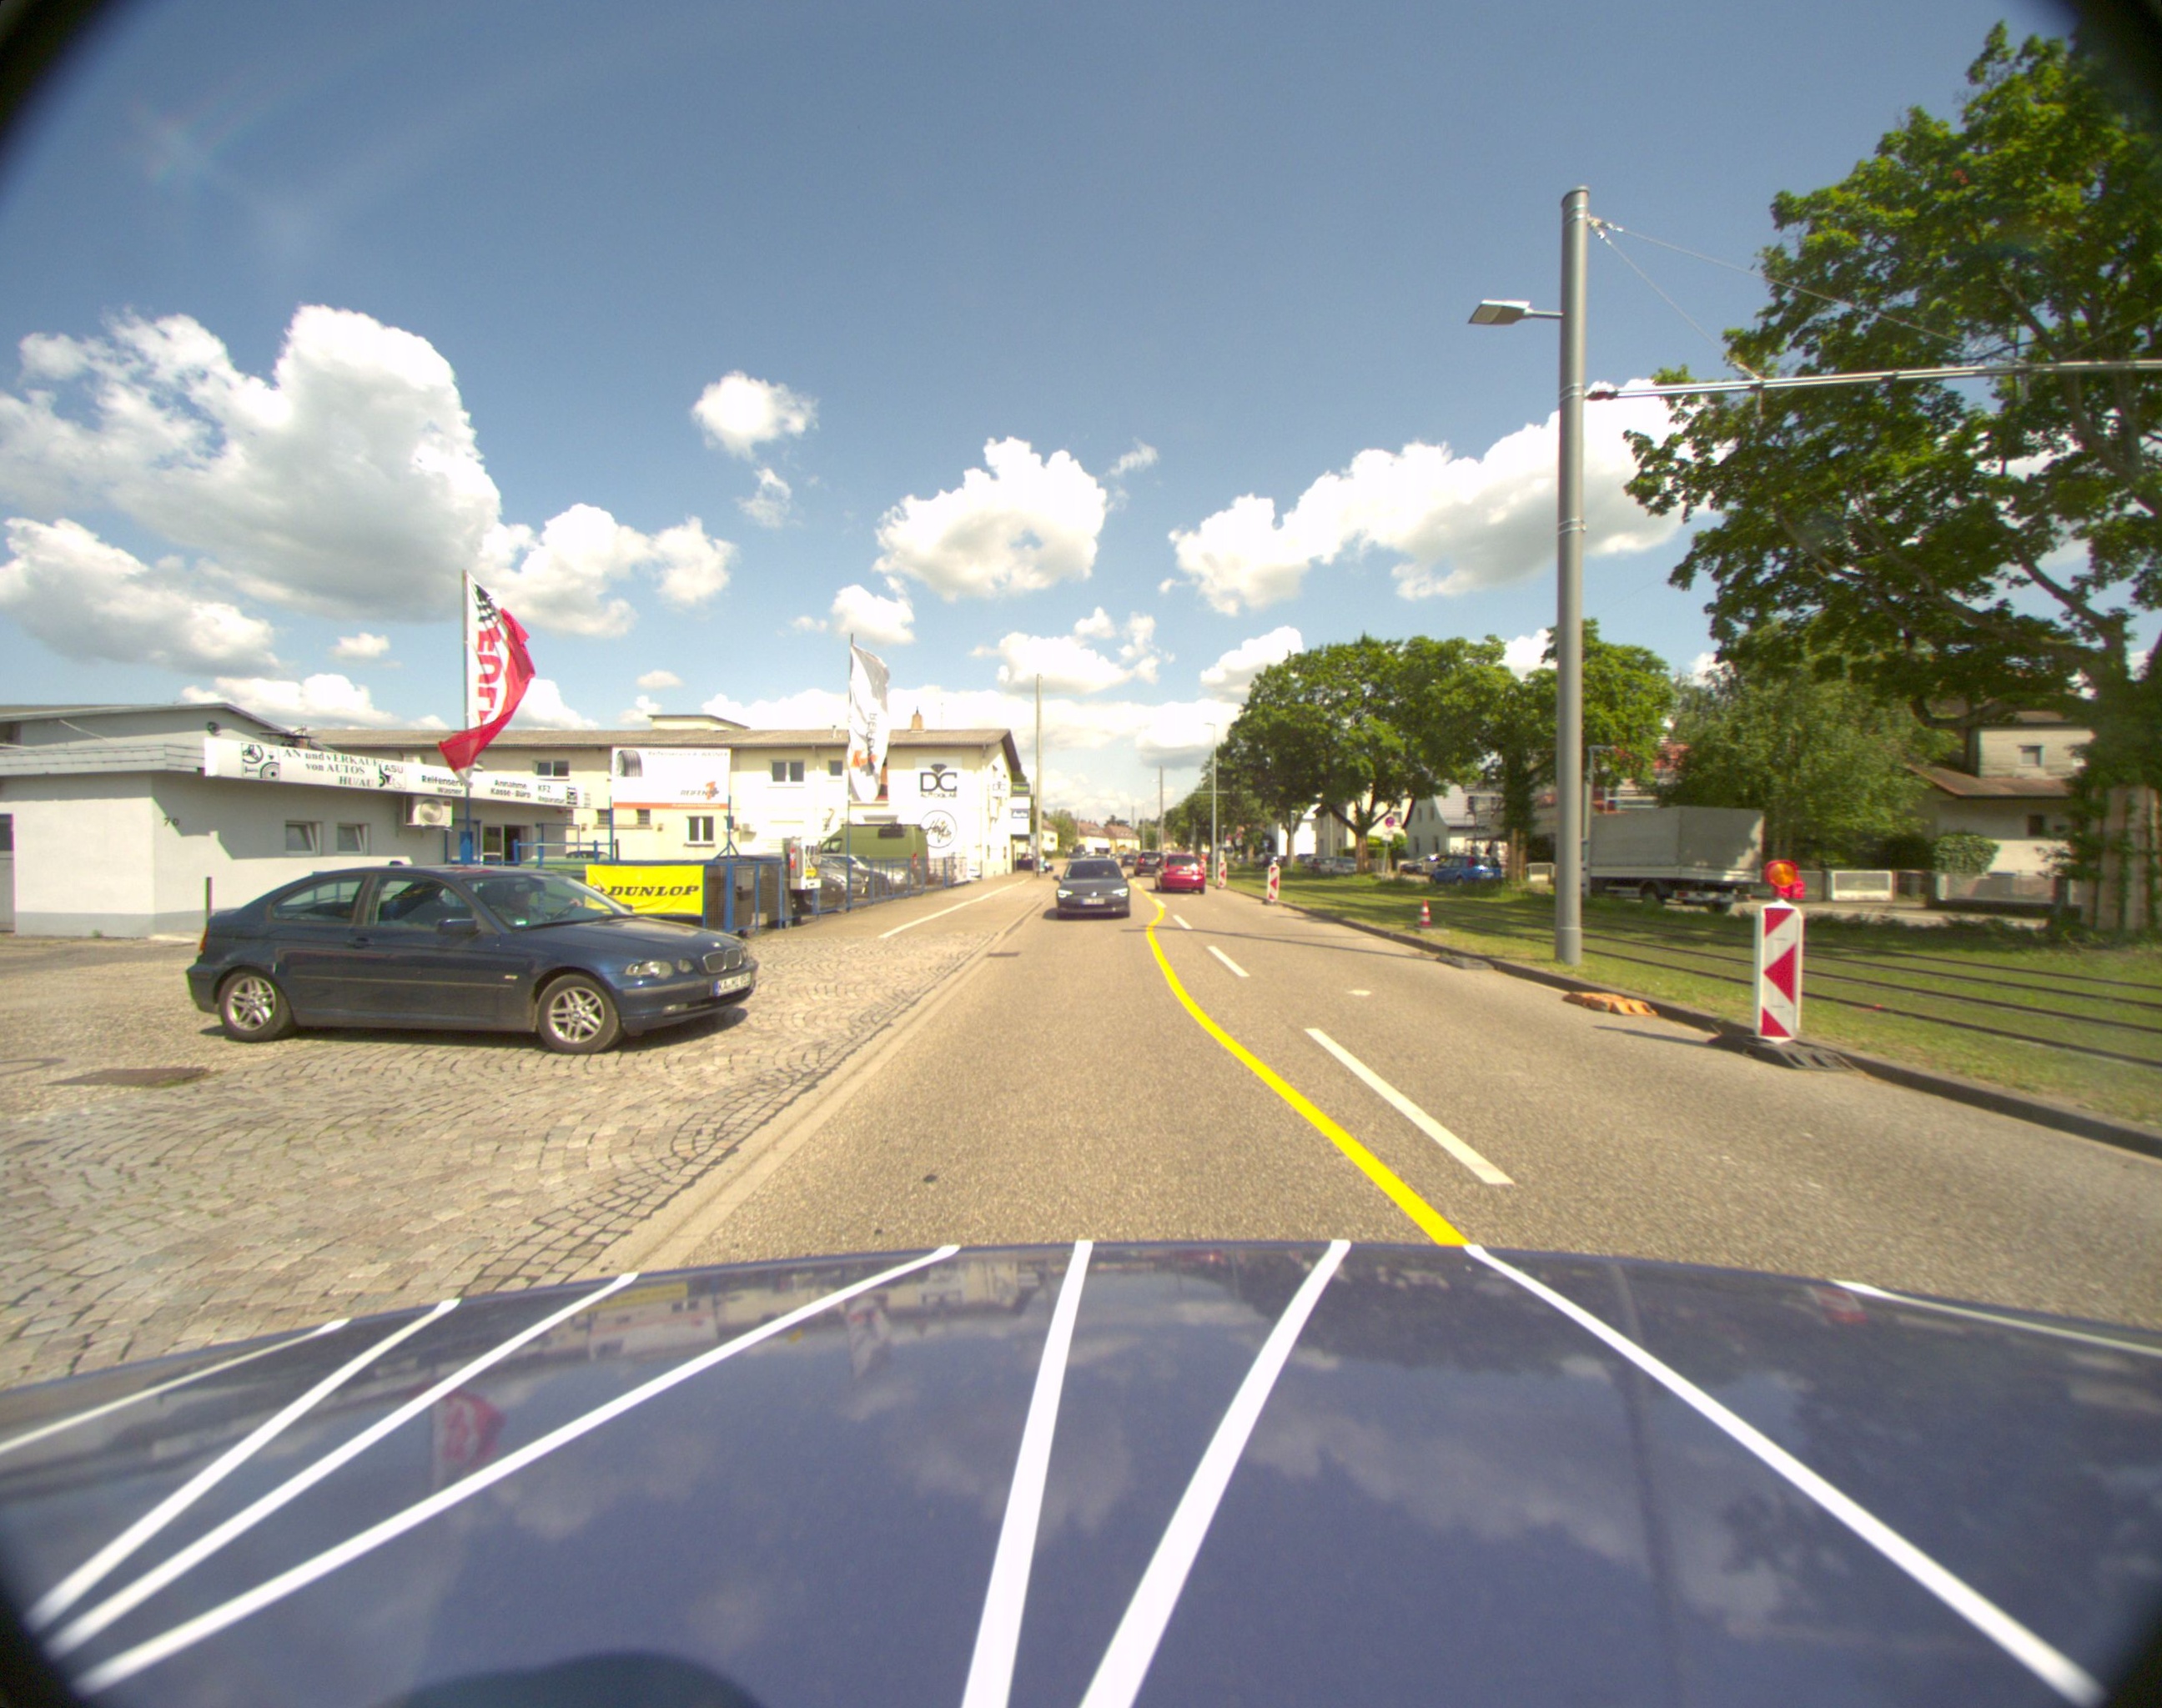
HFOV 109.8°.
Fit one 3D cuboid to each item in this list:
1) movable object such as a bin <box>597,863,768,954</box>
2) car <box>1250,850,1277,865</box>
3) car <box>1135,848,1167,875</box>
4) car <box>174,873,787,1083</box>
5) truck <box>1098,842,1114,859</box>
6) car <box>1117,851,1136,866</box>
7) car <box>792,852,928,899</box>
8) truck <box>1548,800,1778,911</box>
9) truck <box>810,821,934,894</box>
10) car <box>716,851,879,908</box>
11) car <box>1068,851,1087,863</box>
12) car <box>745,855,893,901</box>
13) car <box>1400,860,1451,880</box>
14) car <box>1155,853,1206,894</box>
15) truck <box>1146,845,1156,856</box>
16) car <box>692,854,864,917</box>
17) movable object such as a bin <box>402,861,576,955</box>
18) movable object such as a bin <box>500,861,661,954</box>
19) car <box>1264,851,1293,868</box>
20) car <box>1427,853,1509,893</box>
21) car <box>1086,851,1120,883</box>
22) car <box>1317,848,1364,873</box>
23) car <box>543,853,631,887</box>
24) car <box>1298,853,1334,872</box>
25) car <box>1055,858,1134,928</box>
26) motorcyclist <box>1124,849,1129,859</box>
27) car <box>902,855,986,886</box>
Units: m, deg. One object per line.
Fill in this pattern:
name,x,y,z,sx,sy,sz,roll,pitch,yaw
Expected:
movable object such as a bin,-6.779,0.892,13.116,1.967,1.339,1.708,-2,1,1
car,17.412,0.330,72.676,1.636,1.294,3.999,-2,1,2
car,4.564,0.468,50.064,1.801,1.680,4.221,1,1,1
car,-4.828,0.903,6.402,4.060,1.400,1.648,0,2,8
truck,4.612,-0.662,139.310,2.631,2.872,7.924,-2,1,4
car,4.843,0.448,81.870,1.715,1.478,4.535,1,1,0
car,-7.910,0.762,27.350,4.257,1.499,1.828,-2,1,9
truck,16.852,-0.007,22.588,2.370,2.789,5.950,-2,1,2
truck,-8.210,0.121,30.131,4.181,2.645,2.108,-2,2,3
car,-8.395,0.746,22.577,4.254,1.496,1.829,-2,1,18
car,-0.362,0.397,92.915,1.823,1.412,4.002,0,1,8
car,-8.621,0.782,25.122,4.257,1.366,1.741,-1,1,8
car,25.708,1.182,56.716,3.237,1.375,1.490,-1,2,31
car,3.747,0.708,29.157,1.582,1.461,3.720,0,0,2
truck,20.835,-1.061,225.167,2.665,2.787,7.539,-2,1,4
car,-7.722,0.767,19.435,3.901,1.454,1.627,0,2,18
movable object such as a bin,-10.125,0.882,13.128,1.535,1.402,1.765,-2,1,1
movable object such as a bin,-8.562,0.871,13.145,1.535,1.402,1.765,-2,1,1
car,17.299,0.452,66.679,1.636,1.294,3.999,-2,1,2
car,16.796,0.775,33.189,1.672,1.504,3.930,-2,1,2
car,1.145,0.633,39.294,1.594,1.418,3.707,-2,1,2
car,17.300,0.381,50.908,1.707,1.504,4.524,-2,1,2
car,-20.899,0.653,32.311,1.453,1.255,3.276,-2,1,2
car,17.485,0.591,56.693,1.624,1.235,3.786,-2,1,2
car,0.389,0.895,19.320,1.742,1.410,4.381,-1,1,2
motorcyclist,6.405,-0.043,107.060,0.651,1.434,0.588,0,2,2
car,-6.686,0.797,37.236,3.725,1.350,1.518,-2,1,5
